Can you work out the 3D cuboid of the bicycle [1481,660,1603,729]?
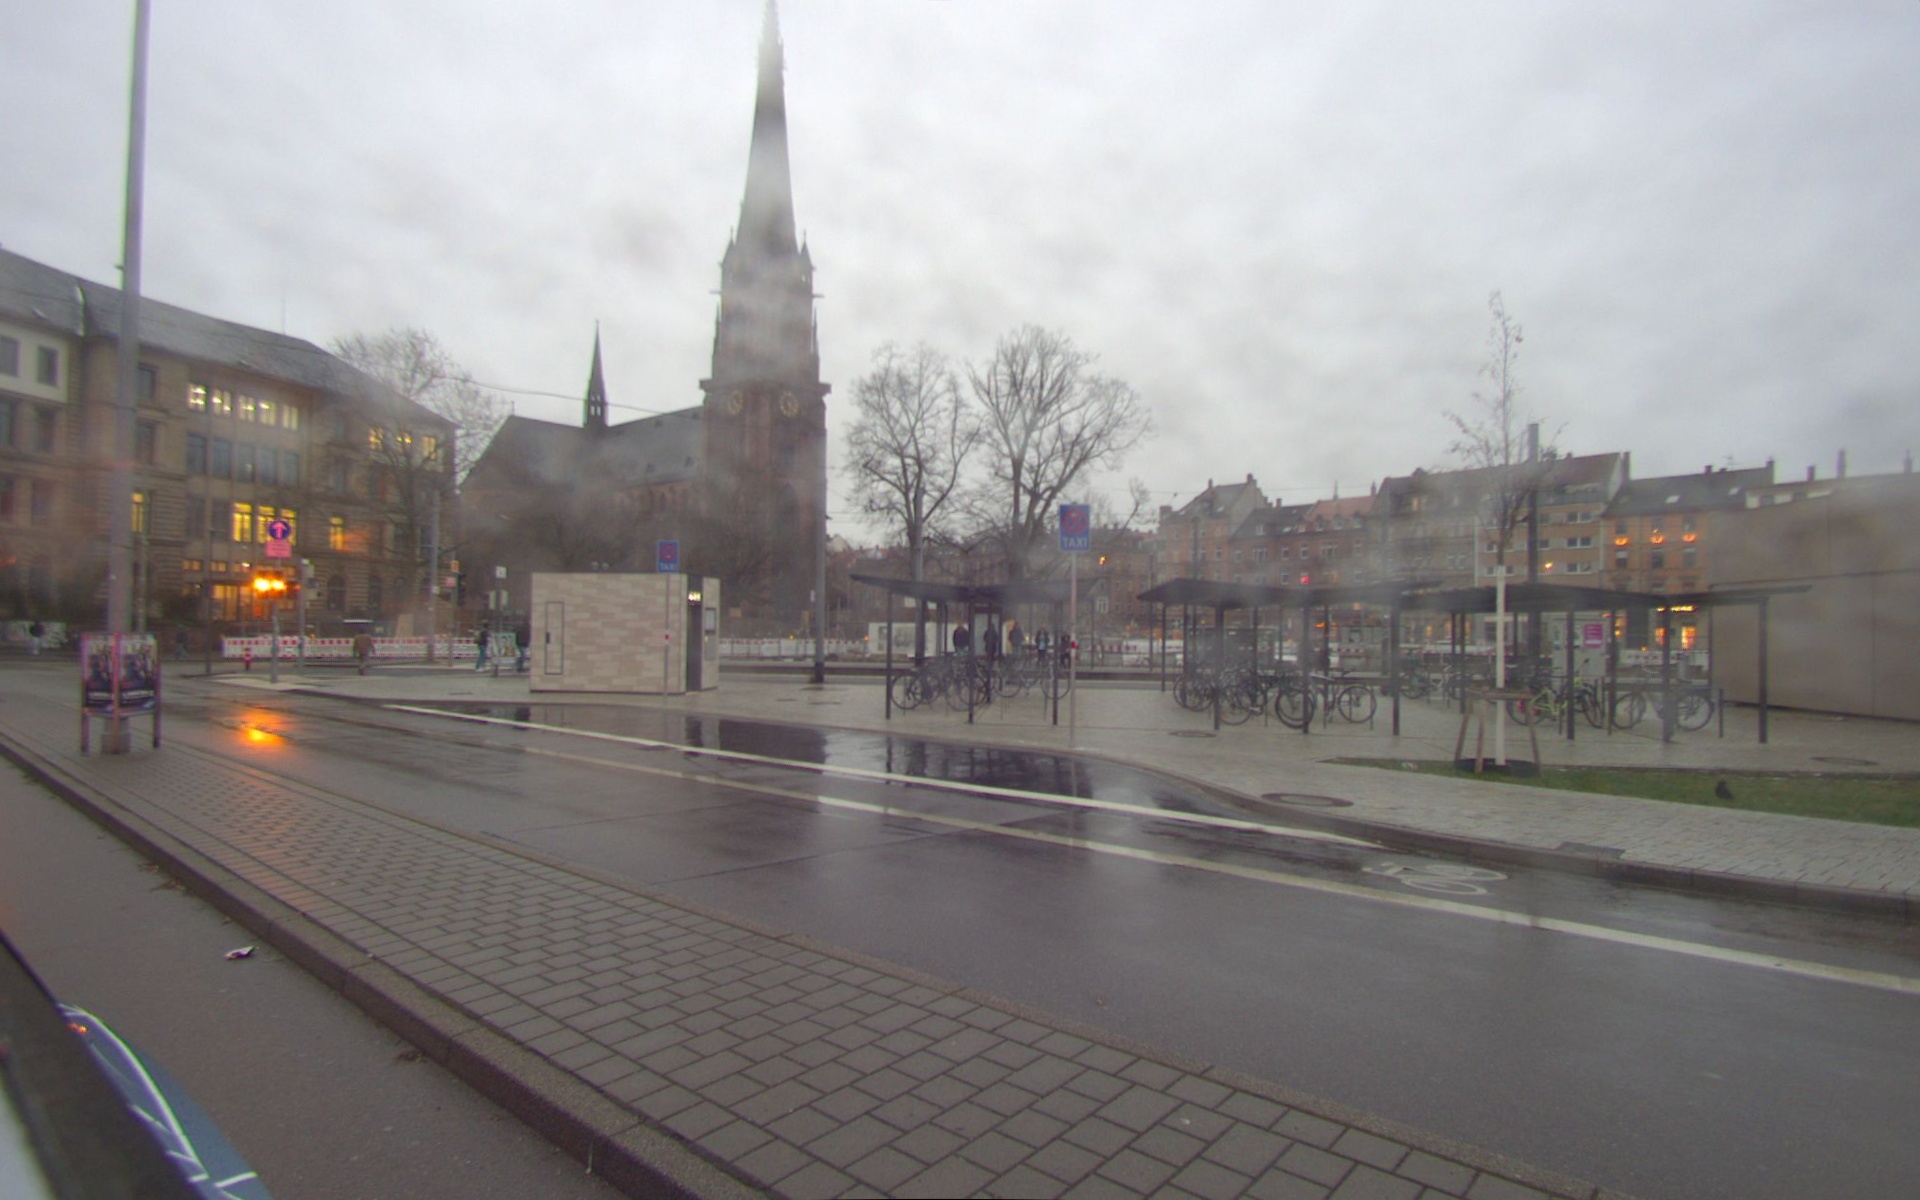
[{"bbox_3d":[10.842,1.741,18.898,1.879,1.174,0.548,1,0,12],"label":"bicycle"}]

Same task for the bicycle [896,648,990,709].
[{"bbox_3d":[-0.358,1.631,21.113,1.879,1.174,0.548,1,0,12],"label":"bicycle"}]

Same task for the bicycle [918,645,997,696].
[{"bbox_3d":[-0.061,1.719,24.859,1.879,1.174,0.548,1,0,12],"label":"bicycle"}]

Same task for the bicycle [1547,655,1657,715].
[{"bbox_3d":[13.687,1.795,21.620,1.879,1.174,0.548,1,0,12],"label":"bicycle"}]

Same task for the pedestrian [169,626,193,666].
[{"bbox_3d":[-39.990,2.355,51.964,0.733,2.029,0.645,1,0,4],"label":"pedestrian"}]

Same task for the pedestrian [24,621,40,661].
[{"bbox_3d":[-47.577,2.108,51.880,0.563,2.029,0.587,0,0,-45],"label":"pedestrian"}]

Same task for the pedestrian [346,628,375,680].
[{"bbox_3d":[-20.058,1.808,33.878,0.663,1.687,0.732,1,0,-17],"label":"pedestrian"}]

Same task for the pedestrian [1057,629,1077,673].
[{"bbox_3d":[4.051,1.911,38.269,0.709,1.630,0.713,1,-1,7],"label":"pedestrian"}]

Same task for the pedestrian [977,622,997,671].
[{"bbox_3d":[1.028,1.752,38.444,0.709,1.820,0.713,1,-1,7],"label":"pedestrian"}]

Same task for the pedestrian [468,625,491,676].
[{"bbox_3d":[-17.939,1.876,37.791,0.595,1.827,0.827,-3,1,-35],"label":"pedestrian"}]

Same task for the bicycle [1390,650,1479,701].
[{"bbox_3d":[11.678,1.845,24.948,1.879,1.174,0.548,1,0,12],"label":"bicycle"}]

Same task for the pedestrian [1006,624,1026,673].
[{"bbox_3d":[2.113,1.828,38.257,0.709,1.820,0.713,1,-1,7],"label":"pedestrian"}]

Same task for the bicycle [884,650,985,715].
[{"bbox_3d":[-0.499,1.606,19.937,1.922,1.174,0.548,1,0,12],"label":"bicycle"}]

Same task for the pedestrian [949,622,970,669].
[{"bbox_3d":[-0.026,1.735,38.624,0.709,1.770,0.713,1,-1,7],"label":"pedestrian"}]

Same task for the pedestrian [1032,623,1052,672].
[{"bbox_3d":[3.090,1.774,38.198,0.709,1.820,0.713,1,-1,7],"label":"pedestrian"}]

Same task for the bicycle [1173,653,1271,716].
[{"bbox_3d":[5.328,1.704,20.646,1.879,1.174,0.548,1,0,12],"label":"bicycle"}]

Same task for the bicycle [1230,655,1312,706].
[{"bbox_3d":[7.687,1.978,25.073,1.879,1.174,0.548,1,0,12],"label":"bicycle"}]

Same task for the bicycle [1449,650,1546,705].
[{"bbox_3d":[12.449,1.794,23.476,1.879,1.174,0.548,1,0,12],"label":"bicycle"}]

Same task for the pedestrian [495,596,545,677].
[{"bbox_3d":[-13.312,1.067,30.608,1.062,2.388,0.984,1,0,37],"label":"pedestrian"}]

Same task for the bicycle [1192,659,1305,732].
[{"bbox_3d":[5.097,1.678,17.972,1.879,1.174,0.548,1,0,12],"label":"bicycle"}]

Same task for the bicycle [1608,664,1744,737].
[{"bbox_3d":[12.685,1.771,17.965,1.879,1.174,0.548,1,0,12],"label":"bicycle"}]

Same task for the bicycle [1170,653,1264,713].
[{"bbox_3d":[5.415,1.738,21.392,1.879,1.174,0.548,1,0,12],"label":"bicycle"}]

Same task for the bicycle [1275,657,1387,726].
[{"bbox_3d":[6.916,1.692,18.943,1.879,1.174,0.548,1,0,12],"label":"bicycle"}]

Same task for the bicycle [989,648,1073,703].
[{"bbox_3d":[1.642,1.743,23.418,1.879,1.174,0.548,1,0,12],"label":"bicycle"}]

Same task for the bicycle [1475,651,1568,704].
[{"bbox_3d":[13.590,1.861,24.532,1.879,1.174,0.548,1,0,12],"label":"bicycle"}]
